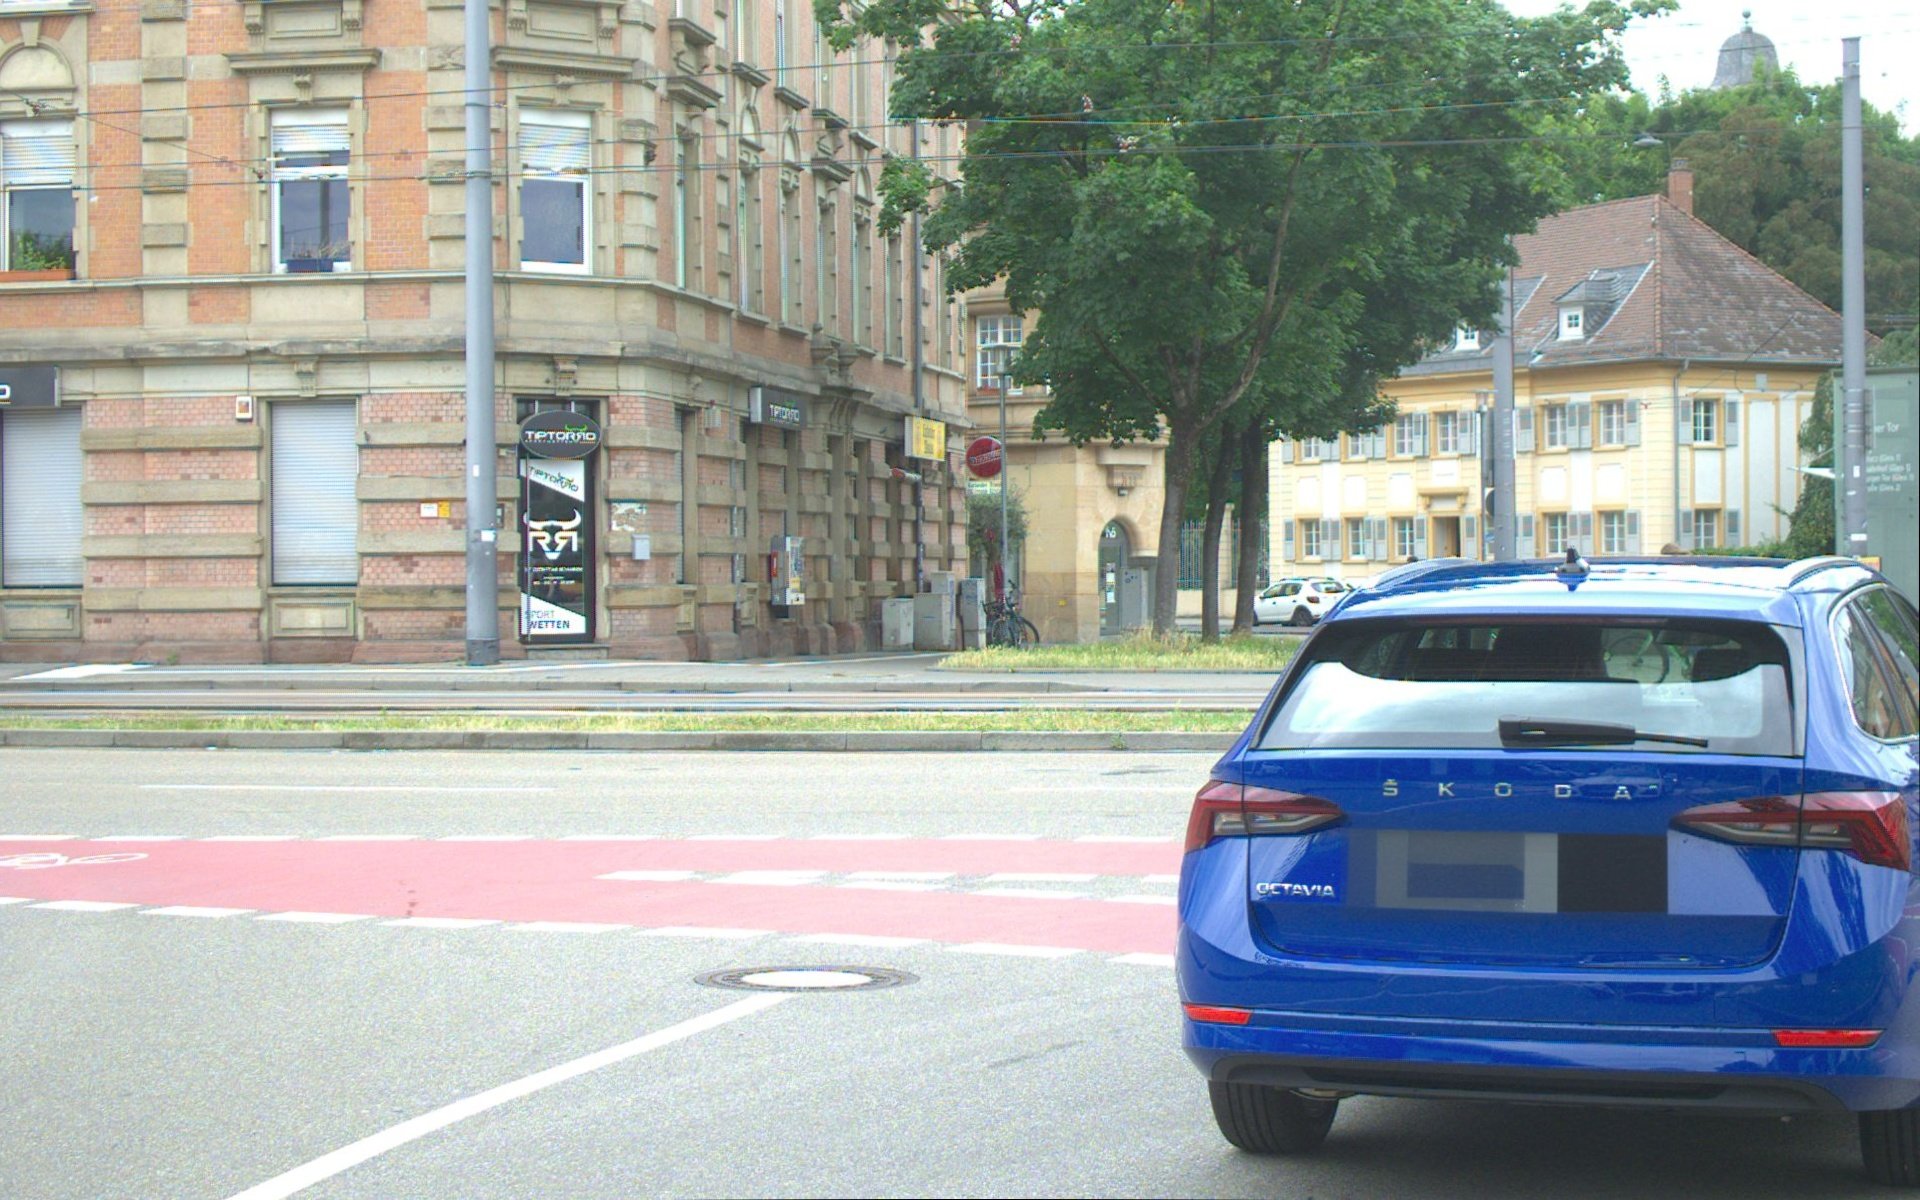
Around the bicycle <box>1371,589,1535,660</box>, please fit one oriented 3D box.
[{"bbox_3d":[6.989,0.342,48.789,2.216,0.983,0.610,0,1,21],"label":"bicycle"}]

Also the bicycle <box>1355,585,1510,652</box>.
[{"bbox_3d":[7.096,0.281,51.659,2.216,0.983,0.584,0,1,21],"label":"bicycle"}]

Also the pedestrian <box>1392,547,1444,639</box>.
[{"bbox_3d":[8.666,-0.135,65.047,0.845,1.716,0.952,0,1,14],"label":"pedestrian"}]

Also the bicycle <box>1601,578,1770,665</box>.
[{"bbox_3d":[7.755,0.229,36.782,1.714,0.912,0.607,0,1,7],"label":"bicycle"}]

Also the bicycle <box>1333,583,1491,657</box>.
[{"bbox_3d":[6.094,0.267,46.361,2.033,0.983,0.521,0,1,21],"label":"bicycle"}]

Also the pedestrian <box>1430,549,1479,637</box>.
[{"bbox_3d":[9.736,-0.145,67.649,0.845,1.716,0.952,0,1,14],"label":"pedestrian"}]

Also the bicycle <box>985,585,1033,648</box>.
[{"bbox_3d":[0.735,0.241,51.727,0.660,0.911,1.990,-1,1,-1],"label":"bicycle"}]

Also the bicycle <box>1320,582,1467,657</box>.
[{"bbox_3d":[5.761,0.264,45.676,1.865,0.983,0.499,0,1,20],"label":"bicycle"}]

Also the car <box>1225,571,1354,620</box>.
[{"bbox_3d":[10.002,-0.146,104.597,1.691,1.444,4.187,-1,1,-32],"label":"car"}]

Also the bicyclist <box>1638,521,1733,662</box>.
[{"bbox_3d":[7.764,-0.089,36.796,0.939,1.489,0.663,0,1,8],"label":"bicyclist"}]

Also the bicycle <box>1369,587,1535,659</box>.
[{"bbox_3d":[6.800,0.319,47.528,2.216,0.983,0.499,0,1,21],"label":"bicycle"}]

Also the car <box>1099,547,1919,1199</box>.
[{"bbox_3d":[1.890,0.616,9.167,1.781,1.483,4.461,0,1,20],"label":"car"}]

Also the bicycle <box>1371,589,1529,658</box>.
[{"bbox_3d":[7.188,0.342,50.429,2.216,0.983,0.584,0,1,21],"label":"bicycle"}]

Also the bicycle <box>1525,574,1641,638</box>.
[{"bbox_3d":[10.979,0.094,60.648,0.737,1.111,2.363,-1,1,-26],"label":"bicycle"}]
